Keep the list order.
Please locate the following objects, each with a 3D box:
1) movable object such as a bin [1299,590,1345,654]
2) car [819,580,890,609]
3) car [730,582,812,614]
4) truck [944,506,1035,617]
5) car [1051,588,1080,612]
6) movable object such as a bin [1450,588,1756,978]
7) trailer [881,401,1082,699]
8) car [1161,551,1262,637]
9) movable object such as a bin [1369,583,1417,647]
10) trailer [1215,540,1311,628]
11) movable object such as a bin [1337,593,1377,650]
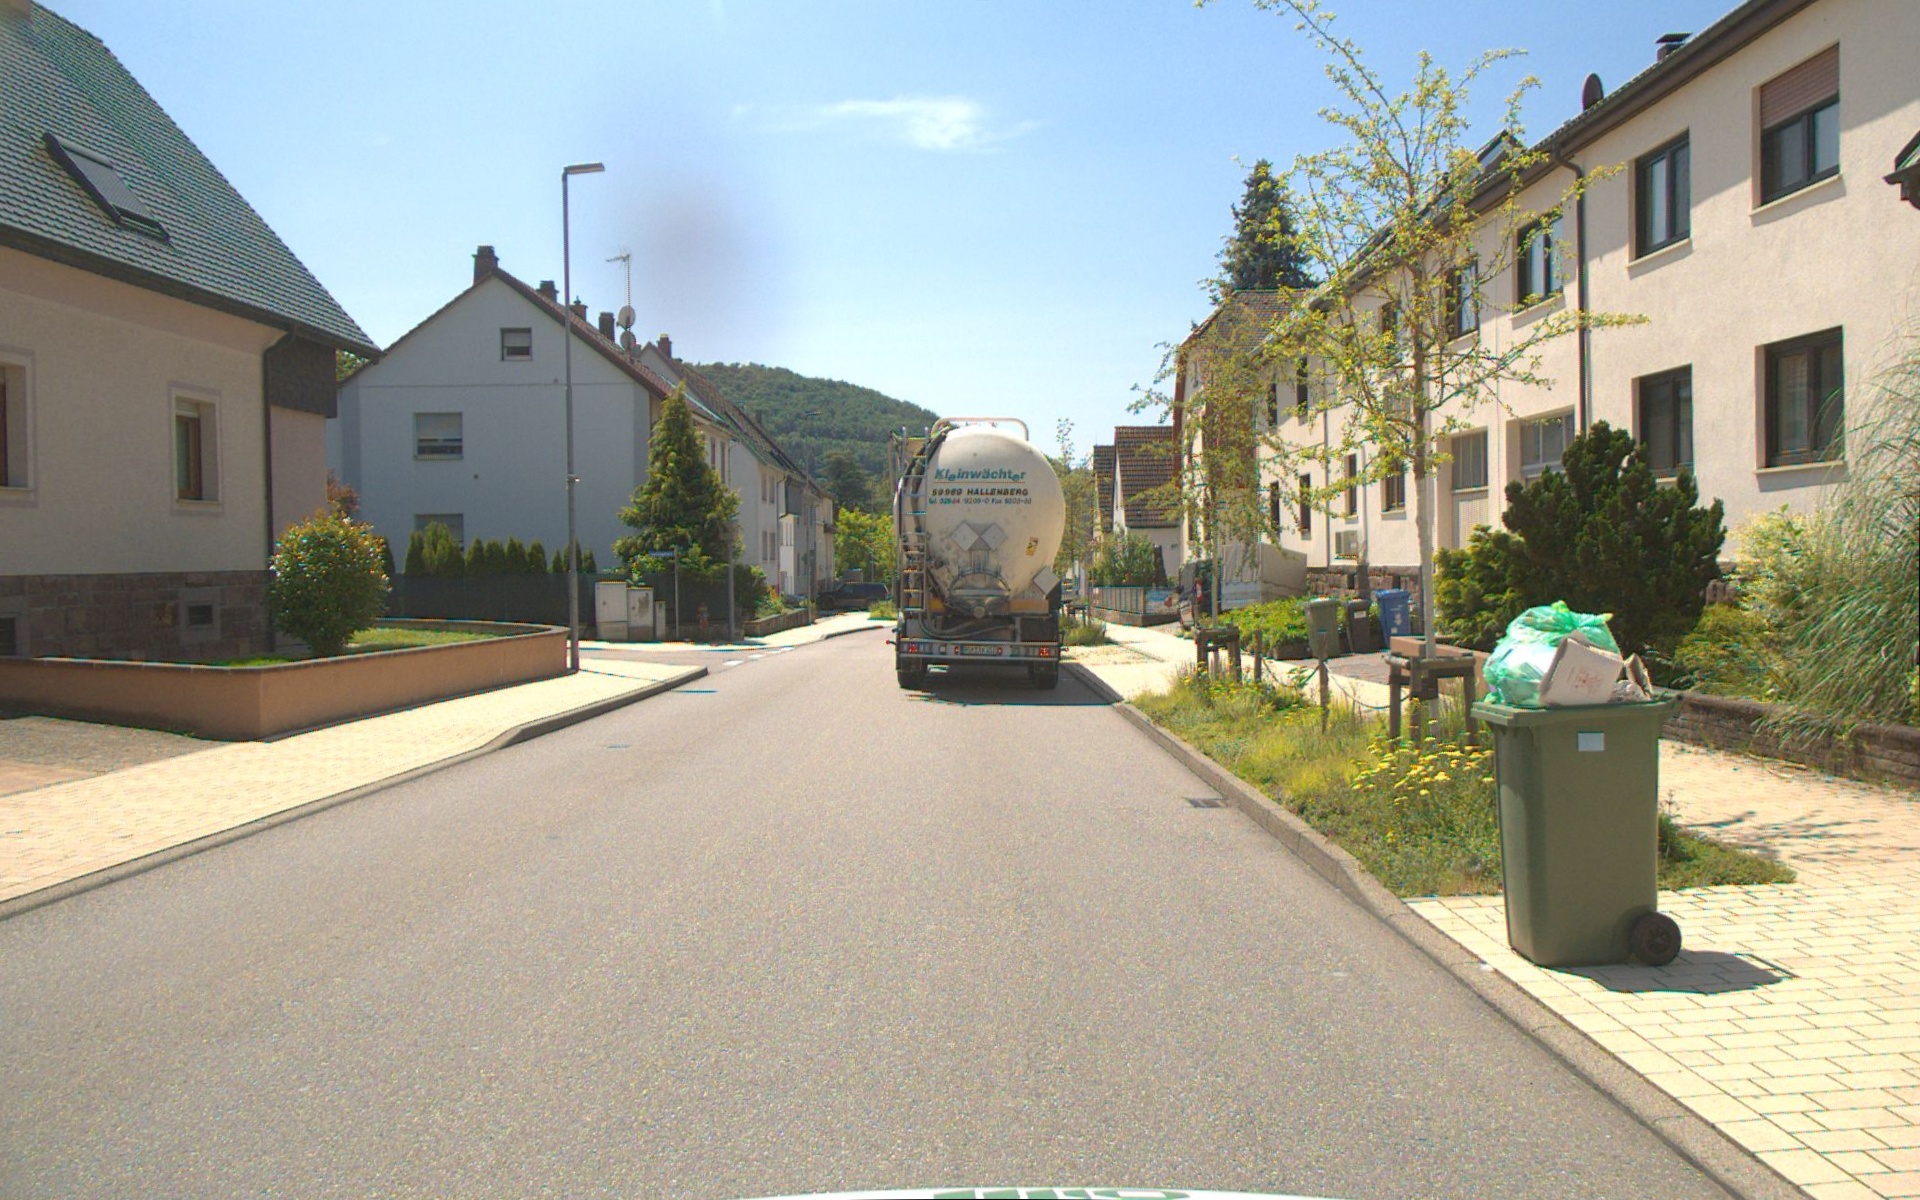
[{"bbox_3d":[6.723,0.408,30.748,0.670,1.134,0.813,-4,-1,6],"label":"movable object such as a bin"},{"bbox_3d":[-6.545,-0.361,103.080,4.305,1.781,1.878,0,0,-1],"label":"car"},{"bbox_3d":[-9.609,-0.097,84.331,3.905,1.572,1.832,0,1,0],"label":"car"},{"bbox_3d":[1.305,-1.791,80.512,3.831,4.981,9.792,-2,0,-2],"label":"truck"},{"bbox_3d":[7.251,-0.012,113.485,1.754,1.568,4.520,-3,0,2],"label":"car"},{"bbox_3d":[2.568,0.686,6.708,0.776,1.419,0.925,-4,0,-2],"label":"movable object such as a bin"},{"bbox_3d":[0.358,-0.755,27.841,2.738,4.070,10.325,0,1,1],"label":"trailer"},{"bbox_3d":[6.716,-0.173,44.581,1.815,2.004,4.773,-6,0,0],"label":"car"},{"bbox_3d":[8.066,0.273,30.828,0.670,1.125,0.863,-4,0,7],"label":"movable object such as a bin"},{"bbox_3d":[7.349,-0.377,40.045,1.301,2.049,2.259,0,0,42],"label":"trailer"},{"bbox_3d":[7.401,0.402,30.861,0.546,1.003,0.803,-5,0,7],"label":"movable object such as a bin"}]
